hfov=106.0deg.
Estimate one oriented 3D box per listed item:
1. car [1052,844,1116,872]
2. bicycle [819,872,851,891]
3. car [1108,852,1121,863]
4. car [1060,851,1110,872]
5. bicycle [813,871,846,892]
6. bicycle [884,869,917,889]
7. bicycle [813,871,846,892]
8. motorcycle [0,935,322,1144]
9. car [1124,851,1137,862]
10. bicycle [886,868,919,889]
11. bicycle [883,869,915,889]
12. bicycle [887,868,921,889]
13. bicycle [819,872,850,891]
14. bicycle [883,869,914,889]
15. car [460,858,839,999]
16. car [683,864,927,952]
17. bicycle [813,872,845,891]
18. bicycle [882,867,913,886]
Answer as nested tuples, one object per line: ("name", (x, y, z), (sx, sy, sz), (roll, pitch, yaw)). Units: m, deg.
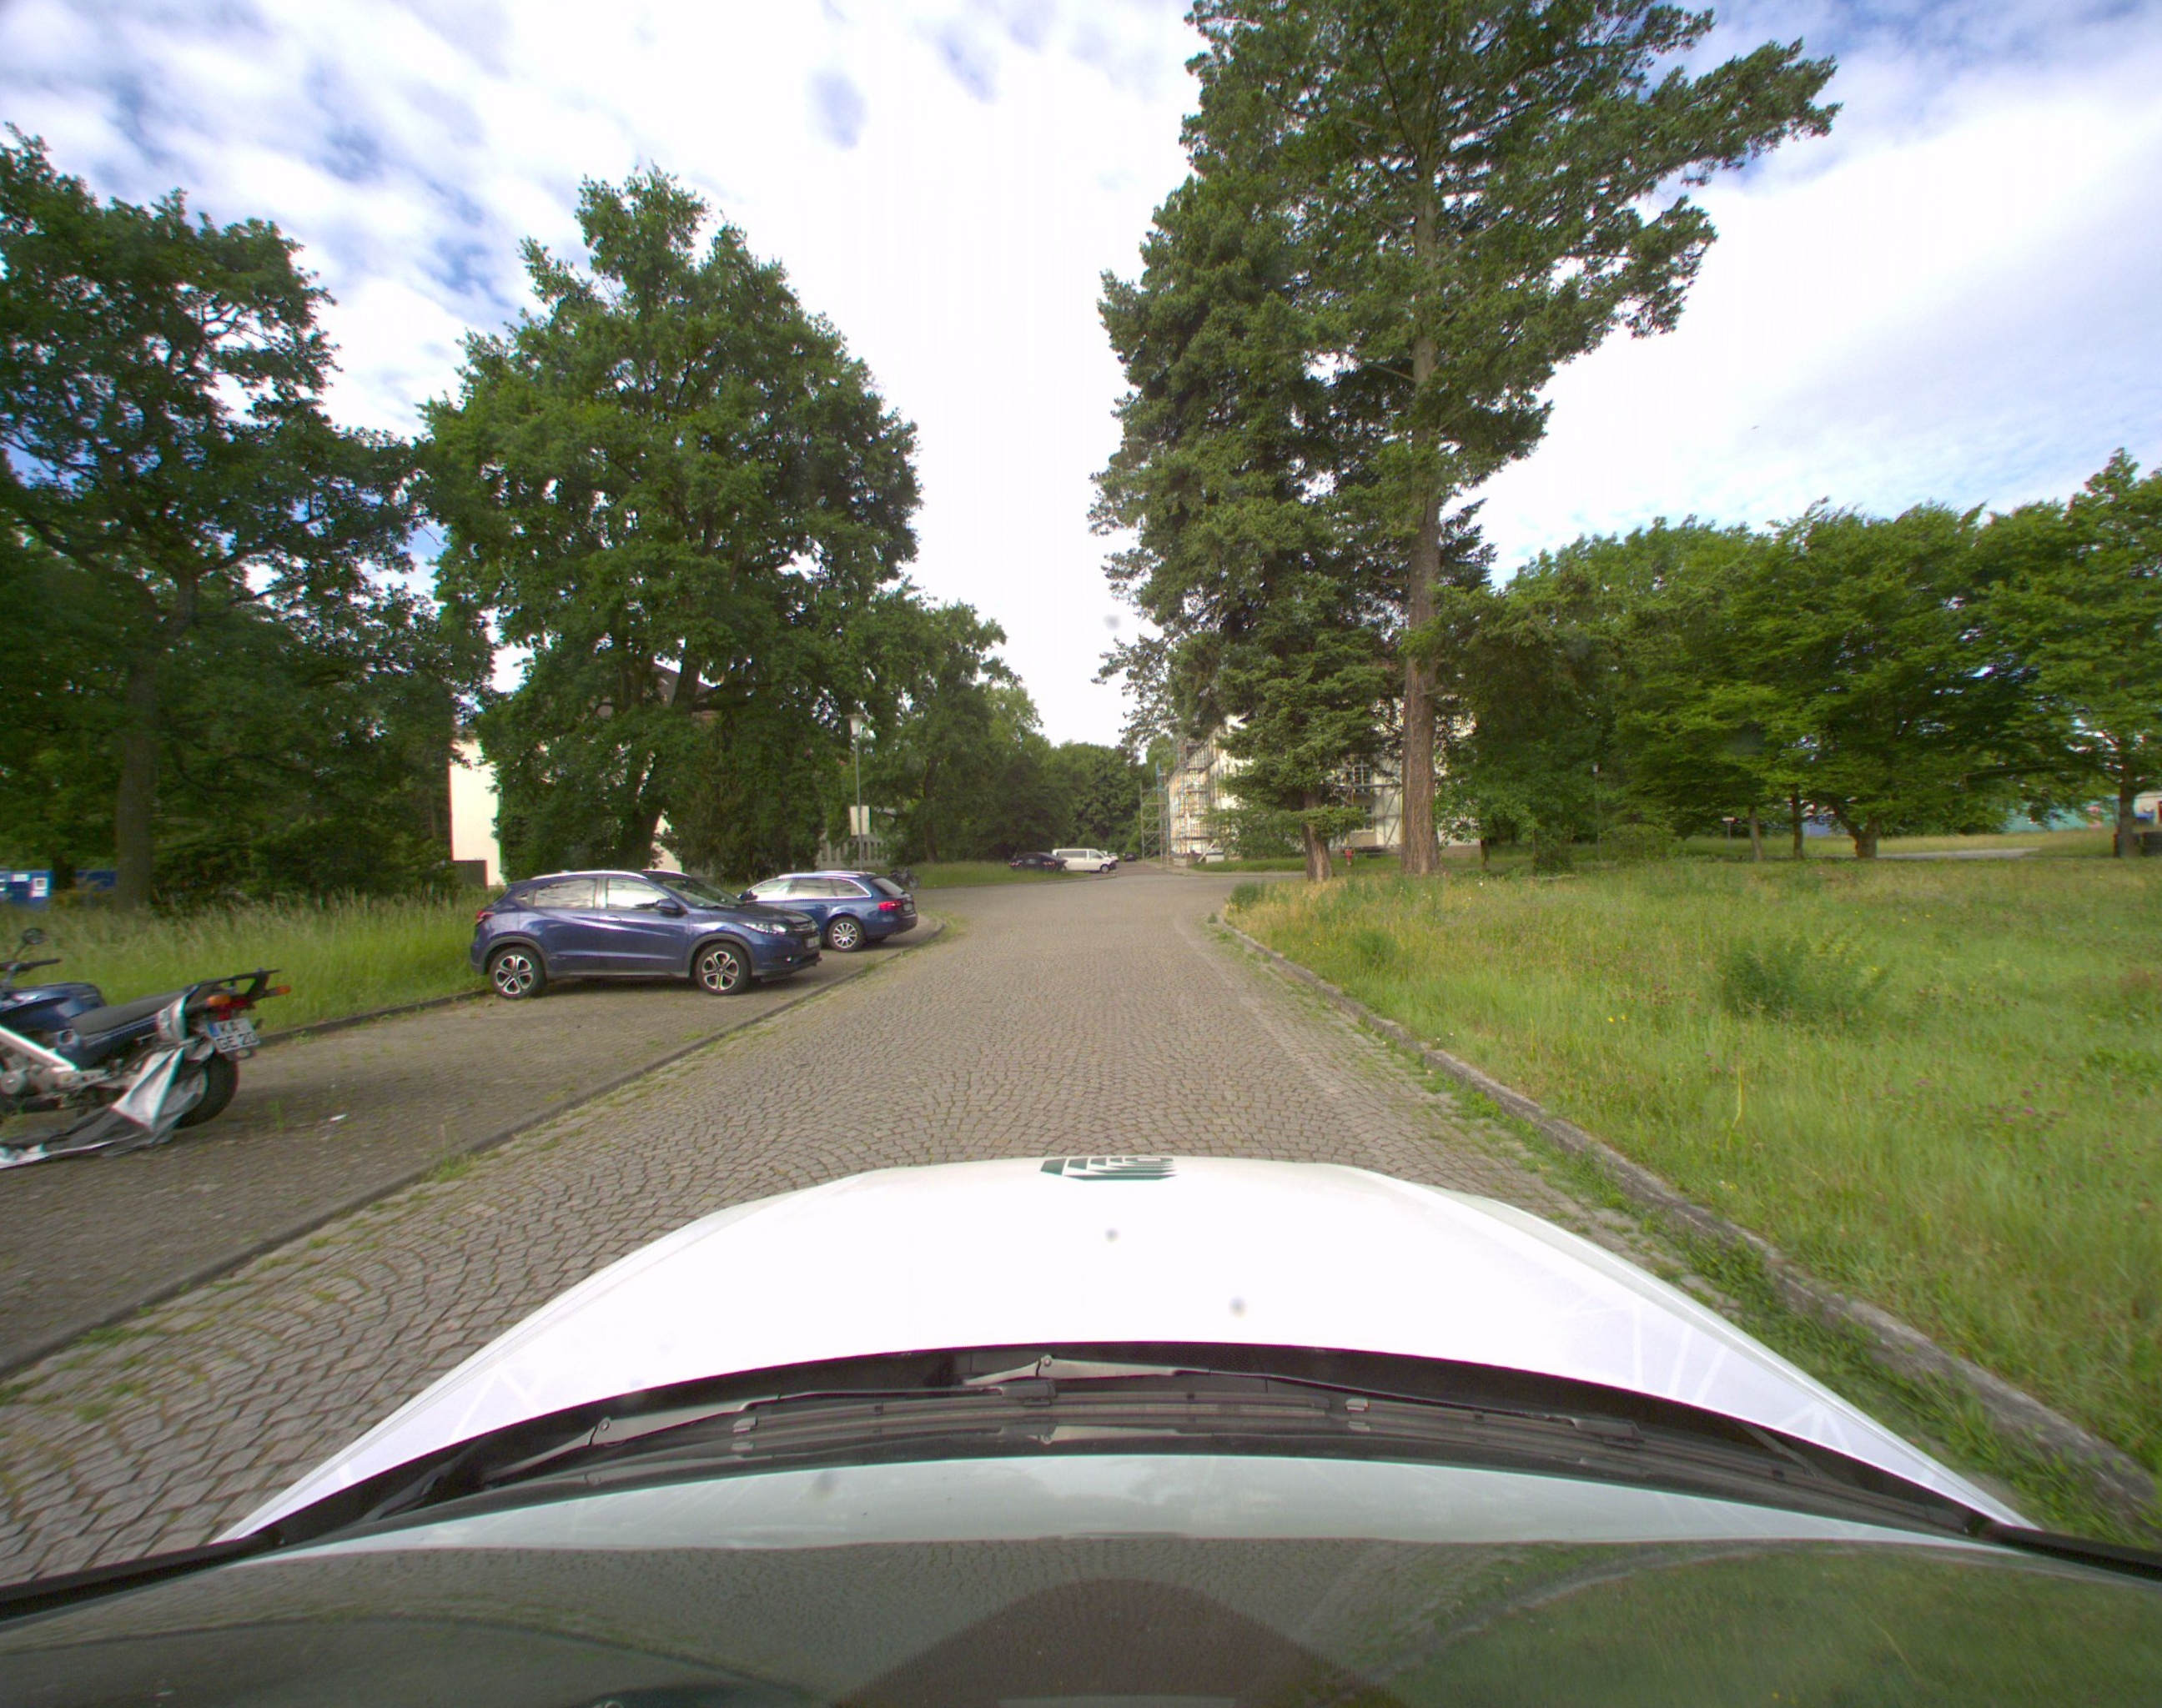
("car", (0.261, 0.350, 64.486), (4.961, 2.073, 2.052), (-1, -2, 0))
("bicycle", (-14.148, 1.570, 46.814), (1.706, 1.053, 0.571), (-2, -2, -19))
("car", (5.335, 0.555, 130.451), (1.784, 1.636, 4.061), (-2, -2, 1))
("car", (0.434, 0.770, 81.905), (4.961, 1.968, 2.052), (-1, -2, 0))
("bicycle", (-13.770, 1.498, 44.617), (1.706, 1.053, 0.571), (-2, -2, -19))
("bicycle", (-10.121, 1.380, 45.711), (1.706, 1.053, 0.571), (-2, -2, -19))
("bicycle", (-13.946, 1.519, 45.168), (1.706, 1.053, 0.571), (-2, -2, -19))
("motorcycle", (-6.260, 1.167, 5.241), (2.216, 1.159, 0.647), (-2, 0, 4))
("car", (7.957, 0.415, 130.709), (1.784, 1.720, 4.061), (-2, -2, 1))
("bicycle", (-9.818, 1.345, 44.808), (1.706, 1.053, 0.571), (-2, -2, -19))
("bicycle", (-10.360, 1.409, 46.443), (1.706, 1.053, 0.571), (-2, -2, -19))
("bicycle", (-9.628, 1.322, 44.241), (1.706, 1.053, 0.571), (-2, -2, -19))
("bicycle", (-14.511, 1.614, 47.968), (1.706, 1.053, 0.571), (-2, -2, -19))
("bicycle", (-10.537, 1.432, 47.058), (1.706, 1.053, 0.571), (-2, -2, -19))
("car", (-5.577, 0.922, 10.915), (4.058, 1.604, 1.787), (-2, 0, 0))
("car", (-5.200, 1.005, 15.606), (4.051, 1.467, 1.628), (-2, 0, 5))
("bicycle", (-14.257, 1.557, 46.150), (1.706, 1.053, 0.571), (-2, -2, -19))
("bicycle", (-10.796, 1.319, 47.922), (1.706, 1.053, 0.571), (-2, -2, -19))
